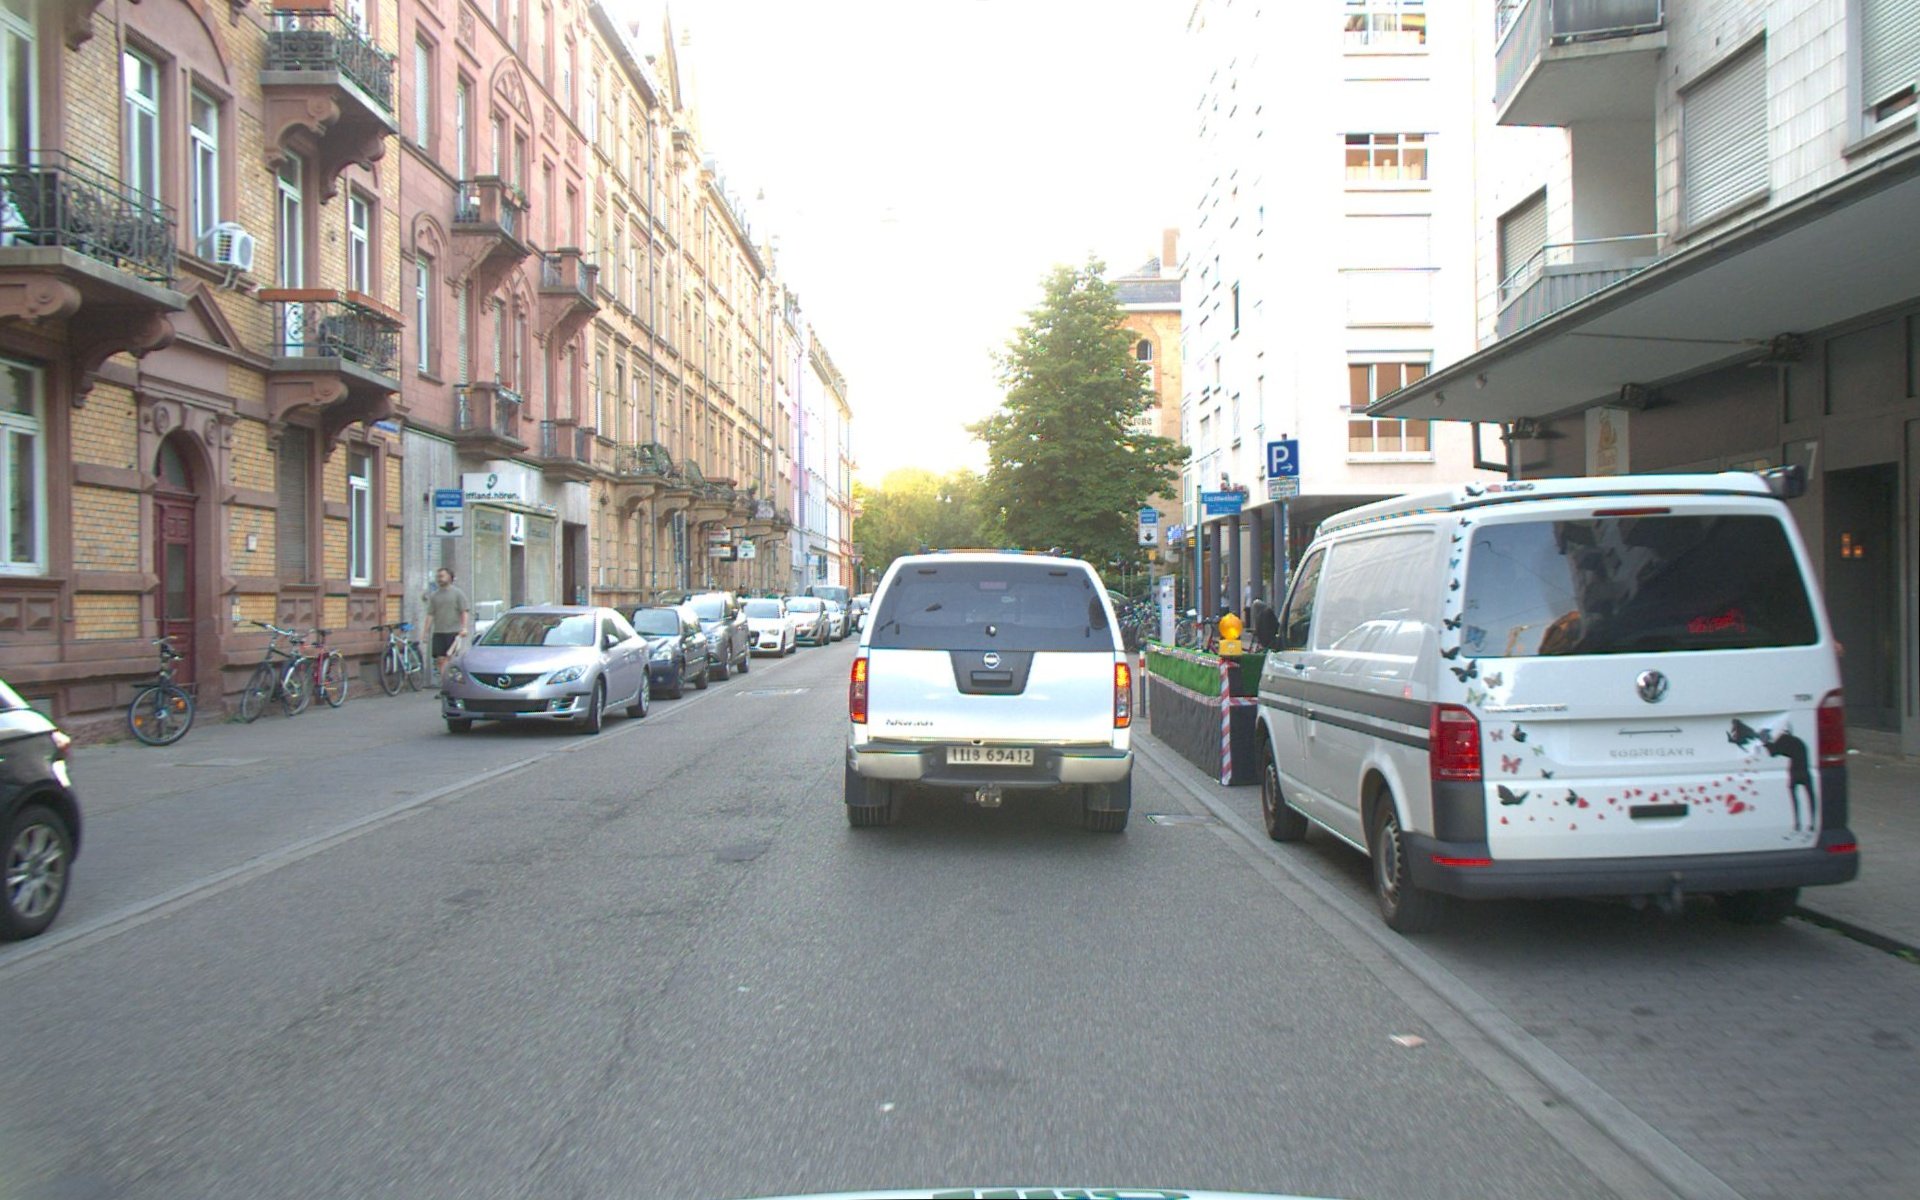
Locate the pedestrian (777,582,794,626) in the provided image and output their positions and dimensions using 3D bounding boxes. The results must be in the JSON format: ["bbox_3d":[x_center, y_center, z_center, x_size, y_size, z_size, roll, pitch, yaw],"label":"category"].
[{"bbox_3d":[-7.187,0.163,68.105,0.593,1.803,0.776,2,1,-4],"label":"pedestrian"}]

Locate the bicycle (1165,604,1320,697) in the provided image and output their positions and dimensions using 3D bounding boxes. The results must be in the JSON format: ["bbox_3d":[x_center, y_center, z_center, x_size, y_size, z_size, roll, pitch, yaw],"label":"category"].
[{"bbox_3d":[3.755,0.681,22.059,1.907,1.154,0.654,-3,-1,37],"label":"bicycle"}]

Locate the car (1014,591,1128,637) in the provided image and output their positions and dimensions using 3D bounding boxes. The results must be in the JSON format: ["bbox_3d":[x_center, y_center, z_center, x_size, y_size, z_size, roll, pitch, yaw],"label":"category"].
[{"bbox_3d":[4.009,0.495,60.170,3.907,1.481,1.827,-2,0,-3],"label":"car"}]

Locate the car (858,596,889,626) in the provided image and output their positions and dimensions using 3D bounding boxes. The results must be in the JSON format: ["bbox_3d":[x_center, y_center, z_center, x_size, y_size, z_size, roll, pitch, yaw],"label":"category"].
[{"bbox_3d":[-5.199,0.654,99.161,1.808,1.688,4.250,-1,0,-3],"label":"car"}]

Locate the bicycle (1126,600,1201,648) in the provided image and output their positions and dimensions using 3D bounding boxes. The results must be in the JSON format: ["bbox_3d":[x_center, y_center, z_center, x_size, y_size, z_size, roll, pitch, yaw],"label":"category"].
[{"bbox_3d":[4.875,0.569,39.701,1.686,1.072,0.654,-3,-1,3],"label":"bicycle"}]

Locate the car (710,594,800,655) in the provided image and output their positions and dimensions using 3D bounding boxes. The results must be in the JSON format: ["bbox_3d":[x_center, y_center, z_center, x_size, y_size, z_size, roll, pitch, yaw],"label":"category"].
[{"bbox_3d":[-5.163,0.587,42.171,1.722,1.436,4.508,0,0,0],"label":"car"}]

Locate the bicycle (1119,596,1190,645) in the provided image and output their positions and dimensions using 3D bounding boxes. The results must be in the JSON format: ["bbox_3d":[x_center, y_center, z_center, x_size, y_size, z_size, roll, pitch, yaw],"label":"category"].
[{"bbox_3d":[4.871,0.522,41.429,1.686,1.137,0.654,-3,-1,3],"label":"bicycle"}]

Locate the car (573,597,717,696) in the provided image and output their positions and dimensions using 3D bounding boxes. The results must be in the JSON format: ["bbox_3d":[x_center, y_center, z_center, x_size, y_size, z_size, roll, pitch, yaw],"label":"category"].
[{"bbox_3d":[-4.990,0.694,26.597,1.552,1.445,3.697,0,0,1],"label":"car"}]

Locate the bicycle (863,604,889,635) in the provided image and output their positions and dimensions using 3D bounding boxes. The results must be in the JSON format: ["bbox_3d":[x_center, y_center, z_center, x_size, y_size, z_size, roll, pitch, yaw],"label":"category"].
[{"bbox_3d":[-3.099,0.706,61.246,0.631,1.100,2.170,-2,0,5],"label":"bicycle"}]

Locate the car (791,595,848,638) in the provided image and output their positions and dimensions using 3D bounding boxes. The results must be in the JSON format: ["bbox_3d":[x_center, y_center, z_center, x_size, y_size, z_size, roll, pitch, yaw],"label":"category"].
[{"bbox_3d":[-5.031,0.580,59.653,1.748,1.447,4.484,1,0,-2],"label":"car"}]

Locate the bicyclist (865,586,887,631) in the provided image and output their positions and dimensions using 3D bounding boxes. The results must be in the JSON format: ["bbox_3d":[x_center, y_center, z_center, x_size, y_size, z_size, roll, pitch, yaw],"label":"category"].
[{"bbox_3d":[-3.111,0.309,61.260,0.631,1.649,0.919,-2,0,5],"label":"bicyclist"}]

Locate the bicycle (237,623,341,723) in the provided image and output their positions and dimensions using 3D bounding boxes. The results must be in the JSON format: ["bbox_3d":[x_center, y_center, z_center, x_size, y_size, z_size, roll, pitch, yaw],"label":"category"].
[{"bbox_3d":[-8.355,0.884,20.659,0.537,1.143,1.760,2,0,0],"label":"bicycle"}]

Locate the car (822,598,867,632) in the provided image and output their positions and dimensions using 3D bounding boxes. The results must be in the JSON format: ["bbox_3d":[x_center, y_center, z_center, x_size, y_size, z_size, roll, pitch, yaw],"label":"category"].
[{"bbox_3d":[-5.126,0.688,73.943,1.701,1.443,4.778,1,-1,-1],"label":"car"}]

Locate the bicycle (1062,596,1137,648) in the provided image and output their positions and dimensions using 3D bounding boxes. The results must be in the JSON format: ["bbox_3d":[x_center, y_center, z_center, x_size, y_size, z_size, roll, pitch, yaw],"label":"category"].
[{"bbox_3d":[3.630,0.581,43.080,1.830,1.202,0.743,-5,-1,5],"label":"bicycle"}]

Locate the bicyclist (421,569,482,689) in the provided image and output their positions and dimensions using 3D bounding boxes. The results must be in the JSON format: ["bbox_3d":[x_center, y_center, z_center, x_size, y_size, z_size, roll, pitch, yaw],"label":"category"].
[{"bbox_3d":[-7.580,0.428,24.684,0.694,1.760,0.842,0,-1,-5],"label":"bicyclist"}]

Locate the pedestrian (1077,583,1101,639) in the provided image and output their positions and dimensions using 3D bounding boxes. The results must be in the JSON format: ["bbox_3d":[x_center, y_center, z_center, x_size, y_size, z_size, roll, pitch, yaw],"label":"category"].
[{"bbox_3d":[4.153,0.356,53.305,0.614,1.784,0.586,0,-1,-11],"label":"pedestrian"}]

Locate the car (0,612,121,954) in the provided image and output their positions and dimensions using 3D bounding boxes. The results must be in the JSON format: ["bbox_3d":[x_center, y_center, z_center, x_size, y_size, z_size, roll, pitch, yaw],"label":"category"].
[{"bbox_3d":[-4.976,0.793,6.101,1.658,1.445,3.856,0,0,3],"label":"car"}]

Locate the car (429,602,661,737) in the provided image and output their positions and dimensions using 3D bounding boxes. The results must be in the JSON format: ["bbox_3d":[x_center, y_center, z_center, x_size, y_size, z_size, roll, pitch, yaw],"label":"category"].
[{"bbox_3d":[-4.922,0.761,20.266,1.687,1.445,4.581,1,0,0],"label":"car"}]

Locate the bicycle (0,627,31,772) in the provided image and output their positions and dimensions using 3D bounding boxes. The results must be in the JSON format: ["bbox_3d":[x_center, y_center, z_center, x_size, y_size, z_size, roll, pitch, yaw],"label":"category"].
[{"bbox_3d":[-8.318,0.839,13.218,0.516,1.191,2.048,1,0,3],"label":"bicycle"}]

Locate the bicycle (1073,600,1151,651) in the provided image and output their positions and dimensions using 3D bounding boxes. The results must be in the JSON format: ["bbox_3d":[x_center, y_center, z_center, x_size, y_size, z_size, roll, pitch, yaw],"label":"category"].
[{"bbox_3d":[3.679,0.622,40.074,1.773,1.137,0.706,-3,-1,-2],"label":"bicycle"}]

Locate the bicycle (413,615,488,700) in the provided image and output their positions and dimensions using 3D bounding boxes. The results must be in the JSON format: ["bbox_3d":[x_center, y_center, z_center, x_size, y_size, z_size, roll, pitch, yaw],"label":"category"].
[{"bbox_3d":[-7.575,0.841,24.647,0.694,1.217,1.740,0,-1,-5],"label":"bicycle"}]

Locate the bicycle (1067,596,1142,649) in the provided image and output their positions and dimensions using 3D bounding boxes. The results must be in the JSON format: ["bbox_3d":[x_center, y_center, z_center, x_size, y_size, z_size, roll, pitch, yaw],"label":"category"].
[{"bbox_3d":[3.696,0.566,42.237,1.750,1.202,0.734,-5,-1,10],"label":"bicycle"}]

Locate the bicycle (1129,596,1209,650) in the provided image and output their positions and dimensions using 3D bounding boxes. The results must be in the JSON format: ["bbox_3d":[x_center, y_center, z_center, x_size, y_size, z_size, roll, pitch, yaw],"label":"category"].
[{"bbox_3d":[4.803,0.526,38.003,1.692,1.151,0.577,-3,-1,-12],"label":"bicycle"}]

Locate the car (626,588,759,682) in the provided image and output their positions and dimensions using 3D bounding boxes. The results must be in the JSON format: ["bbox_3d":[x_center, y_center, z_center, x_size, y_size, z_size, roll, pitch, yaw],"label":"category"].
[{"bbox_3d":[-5.051,0.619,31.785,1.815,1.662,4.446,0,0,0],"label":"car"}]

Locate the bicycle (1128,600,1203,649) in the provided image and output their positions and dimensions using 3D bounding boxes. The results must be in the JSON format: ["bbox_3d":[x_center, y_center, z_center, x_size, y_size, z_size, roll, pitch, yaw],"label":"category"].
[{"bbox_3d":[4.839,0.571,39.029,1.686,1.072,0.654,-3,-1,3],"label":"bicycle"}]

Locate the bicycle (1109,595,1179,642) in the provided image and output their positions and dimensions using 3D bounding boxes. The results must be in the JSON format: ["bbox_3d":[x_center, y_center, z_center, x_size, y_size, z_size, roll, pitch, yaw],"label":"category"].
[{"bbox_3d":[4.809,0.493,43.232,1.688,1.137,0.653,-3,-1,-3],"label":"bicycle"}]

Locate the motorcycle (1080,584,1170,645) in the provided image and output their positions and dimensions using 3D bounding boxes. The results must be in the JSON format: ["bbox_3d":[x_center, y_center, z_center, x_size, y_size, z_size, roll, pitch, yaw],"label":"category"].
[{"bbox_3d":[4.689,0.420,47.232,2.440,1.576,0.824,-3,-1,3],"label":"motorcycle"}]

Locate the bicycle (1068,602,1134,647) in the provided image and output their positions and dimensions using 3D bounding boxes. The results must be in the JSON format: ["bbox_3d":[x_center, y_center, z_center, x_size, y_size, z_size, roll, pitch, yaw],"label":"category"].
[{"bbox_3d":[3.779,0.654,44.449,1.684,1.049,0.667,-5,-1,3],"label":"bicycle"}]

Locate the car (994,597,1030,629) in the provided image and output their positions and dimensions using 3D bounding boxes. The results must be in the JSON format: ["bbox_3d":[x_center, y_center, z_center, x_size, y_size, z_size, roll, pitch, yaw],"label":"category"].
[{"bbox_3d":[2.639,0.651,84.910,1.642,1.453,4.478,-4,0,1],"label":"car"}]

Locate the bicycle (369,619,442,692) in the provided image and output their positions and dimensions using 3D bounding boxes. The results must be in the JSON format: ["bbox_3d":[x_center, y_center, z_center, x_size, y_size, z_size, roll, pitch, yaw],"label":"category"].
[{"bbox_3d":[-8.547,0.843,25.553,0.440,1.040,1.848,3,0,0],"label":"bicycle"}]

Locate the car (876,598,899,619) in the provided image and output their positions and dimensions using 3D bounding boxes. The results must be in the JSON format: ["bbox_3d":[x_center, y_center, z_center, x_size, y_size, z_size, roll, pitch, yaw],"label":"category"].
[{"bbox_3d":[-5.578,0.635,126.992,1.664,1.579,4.020,1,0,-3],"label":"car"}]

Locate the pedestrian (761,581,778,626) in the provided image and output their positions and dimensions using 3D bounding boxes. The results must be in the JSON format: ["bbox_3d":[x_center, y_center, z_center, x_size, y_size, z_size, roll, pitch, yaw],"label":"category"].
[{"bbox_3d":[-7.820,0.143,68.009,0.568,1.802,0.997,2,1,-4],"label":"pedestrian"}]

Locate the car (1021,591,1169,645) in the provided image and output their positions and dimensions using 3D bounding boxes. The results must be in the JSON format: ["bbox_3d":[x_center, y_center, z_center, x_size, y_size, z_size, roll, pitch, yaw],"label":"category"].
[{"bbox_3d":[4.235,0.558,52.238,4.338,1.480,1.777,-3,0,-6],"label":"car"}]

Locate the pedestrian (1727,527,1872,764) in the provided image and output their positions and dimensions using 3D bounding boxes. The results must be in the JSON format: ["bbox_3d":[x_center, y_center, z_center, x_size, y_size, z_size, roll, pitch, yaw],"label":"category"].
[{"bbox_3d":[6.240,0.336,12.327,0.693,1.695,0.745,-2,-1,8],"label":"pedestrian"}]

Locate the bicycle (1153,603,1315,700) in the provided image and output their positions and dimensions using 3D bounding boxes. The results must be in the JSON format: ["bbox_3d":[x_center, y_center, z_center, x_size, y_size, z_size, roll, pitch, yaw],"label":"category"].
[{"bbox_3d":[3.481,0.664,21.116,1.907,1.154,0.654,-3,-1,37],"label":"bicycle"}]

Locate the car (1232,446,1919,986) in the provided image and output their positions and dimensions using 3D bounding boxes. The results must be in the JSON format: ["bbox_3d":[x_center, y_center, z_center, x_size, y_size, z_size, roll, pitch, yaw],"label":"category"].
[{"bbox_3d":[2.857,0.426,8.906,1.918,2.008,5.003,-2,0,0],"label":"car"}]

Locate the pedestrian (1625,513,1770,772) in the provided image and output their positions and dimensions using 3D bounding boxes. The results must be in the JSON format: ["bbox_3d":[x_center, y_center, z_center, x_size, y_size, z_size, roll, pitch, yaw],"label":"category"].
[{"bbox_3d":[5.530,0.316,12.452,0.693,1.860,0.861,-2,-1,6],"label":"pedestrian"}]

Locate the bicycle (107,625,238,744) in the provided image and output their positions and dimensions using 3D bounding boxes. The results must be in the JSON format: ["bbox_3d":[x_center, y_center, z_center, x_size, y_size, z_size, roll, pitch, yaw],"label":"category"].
[{"bbox_3d":[-8.166,0.855,17.223,0.724,1.143,1.608,1,0,-6],"label":"bicycle"}]

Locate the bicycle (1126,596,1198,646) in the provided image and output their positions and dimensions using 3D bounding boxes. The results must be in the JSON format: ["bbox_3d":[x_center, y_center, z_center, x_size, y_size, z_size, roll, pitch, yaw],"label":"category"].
[{"bbox_3d":[4.975,0.520,40.859,1.686,1.137,0.654,-3,-1,3],"label":"bicycle"}]

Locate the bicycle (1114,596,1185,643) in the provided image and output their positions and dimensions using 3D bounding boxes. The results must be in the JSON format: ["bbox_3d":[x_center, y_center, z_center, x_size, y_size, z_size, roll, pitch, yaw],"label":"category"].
[{"bbox_3d":[4.861,0.501,42.511,1.688,1.137,0.653,-3,-1,-3],"label":"bicycle"}]

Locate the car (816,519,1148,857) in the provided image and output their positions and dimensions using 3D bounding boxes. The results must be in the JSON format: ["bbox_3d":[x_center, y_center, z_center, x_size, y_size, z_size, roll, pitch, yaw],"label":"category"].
[{"bbox_3d":[0.354,0.510,12.039,1.870,1.885,5.273,1,0,5],"label":"car"}]

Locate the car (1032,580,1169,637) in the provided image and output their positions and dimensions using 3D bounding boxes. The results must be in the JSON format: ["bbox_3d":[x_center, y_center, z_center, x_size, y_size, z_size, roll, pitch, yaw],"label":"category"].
[{"bbox_3d":[4.639,0.275,55.004,4.309,1.676,1.746,-3,0,-1],"label":"car"}]

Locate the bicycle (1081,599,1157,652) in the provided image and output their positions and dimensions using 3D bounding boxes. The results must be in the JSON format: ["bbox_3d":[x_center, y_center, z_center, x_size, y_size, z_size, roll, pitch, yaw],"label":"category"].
[{"bbox_3d":[3.690,0.599,38.424,1.686,1.137,0.707,-3,-1,3],"label":"bicycle"}]

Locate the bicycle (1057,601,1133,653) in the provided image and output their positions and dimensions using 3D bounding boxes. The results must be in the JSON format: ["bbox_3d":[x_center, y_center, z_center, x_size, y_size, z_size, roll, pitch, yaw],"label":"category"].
[{"bbox_3d":[3.198,0.645,39.283,1.688,1.137,0.706,-3,-1,-2],"label":"bicycle"}]

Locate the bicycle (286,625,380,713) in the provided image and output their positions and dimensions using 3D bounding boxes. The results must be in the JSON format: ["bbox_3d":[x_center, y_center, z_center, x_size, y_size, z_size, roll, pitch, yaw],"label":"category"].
[{"bbox_3d":[-8.345,0.897,22.062,0.537,1.055,1.760,2,0,0],"label":"bicycle"}]

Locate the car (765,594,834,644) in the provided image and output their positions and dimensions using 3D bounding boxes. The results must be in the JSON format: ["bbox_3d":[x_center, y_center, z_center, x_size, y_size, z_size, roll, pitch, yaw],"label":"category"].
[{"bbox_3d":[-4.994,0.566,51.856,1.681,1.483,4.001,1,0,1],"label":"car"}]

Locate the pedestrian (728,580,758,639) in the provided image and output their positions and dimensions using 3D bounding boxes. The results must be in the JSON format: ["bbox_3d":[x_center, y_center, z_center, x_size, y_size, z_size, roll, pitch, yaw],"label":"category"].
[{"bbox_3d":[-6.622,0.300,50.481,0.542,1.786,1.023,0,-1,15],"label":"pedestrian"}]

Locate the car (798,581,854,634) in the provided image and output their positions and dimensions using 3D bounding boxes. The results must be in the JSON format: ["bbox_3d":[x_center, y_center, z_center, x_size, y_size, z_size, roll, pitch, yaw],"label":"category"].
[{"bbox_3d":[-5.219,0.265,64.792,1.953,1.957,4.949,1,0,-3],"label":"car"}]

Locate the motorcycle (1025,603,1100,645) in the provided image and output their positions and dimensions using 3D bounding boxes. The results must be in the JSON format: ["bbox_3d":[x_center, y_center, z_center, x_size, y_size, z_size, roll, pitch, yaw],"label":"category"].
[{"bbox_3d":[2.982,0.690,48.128,2.024,1.097,0.661,-3,0,-16],"label":"motorcycle"}]
